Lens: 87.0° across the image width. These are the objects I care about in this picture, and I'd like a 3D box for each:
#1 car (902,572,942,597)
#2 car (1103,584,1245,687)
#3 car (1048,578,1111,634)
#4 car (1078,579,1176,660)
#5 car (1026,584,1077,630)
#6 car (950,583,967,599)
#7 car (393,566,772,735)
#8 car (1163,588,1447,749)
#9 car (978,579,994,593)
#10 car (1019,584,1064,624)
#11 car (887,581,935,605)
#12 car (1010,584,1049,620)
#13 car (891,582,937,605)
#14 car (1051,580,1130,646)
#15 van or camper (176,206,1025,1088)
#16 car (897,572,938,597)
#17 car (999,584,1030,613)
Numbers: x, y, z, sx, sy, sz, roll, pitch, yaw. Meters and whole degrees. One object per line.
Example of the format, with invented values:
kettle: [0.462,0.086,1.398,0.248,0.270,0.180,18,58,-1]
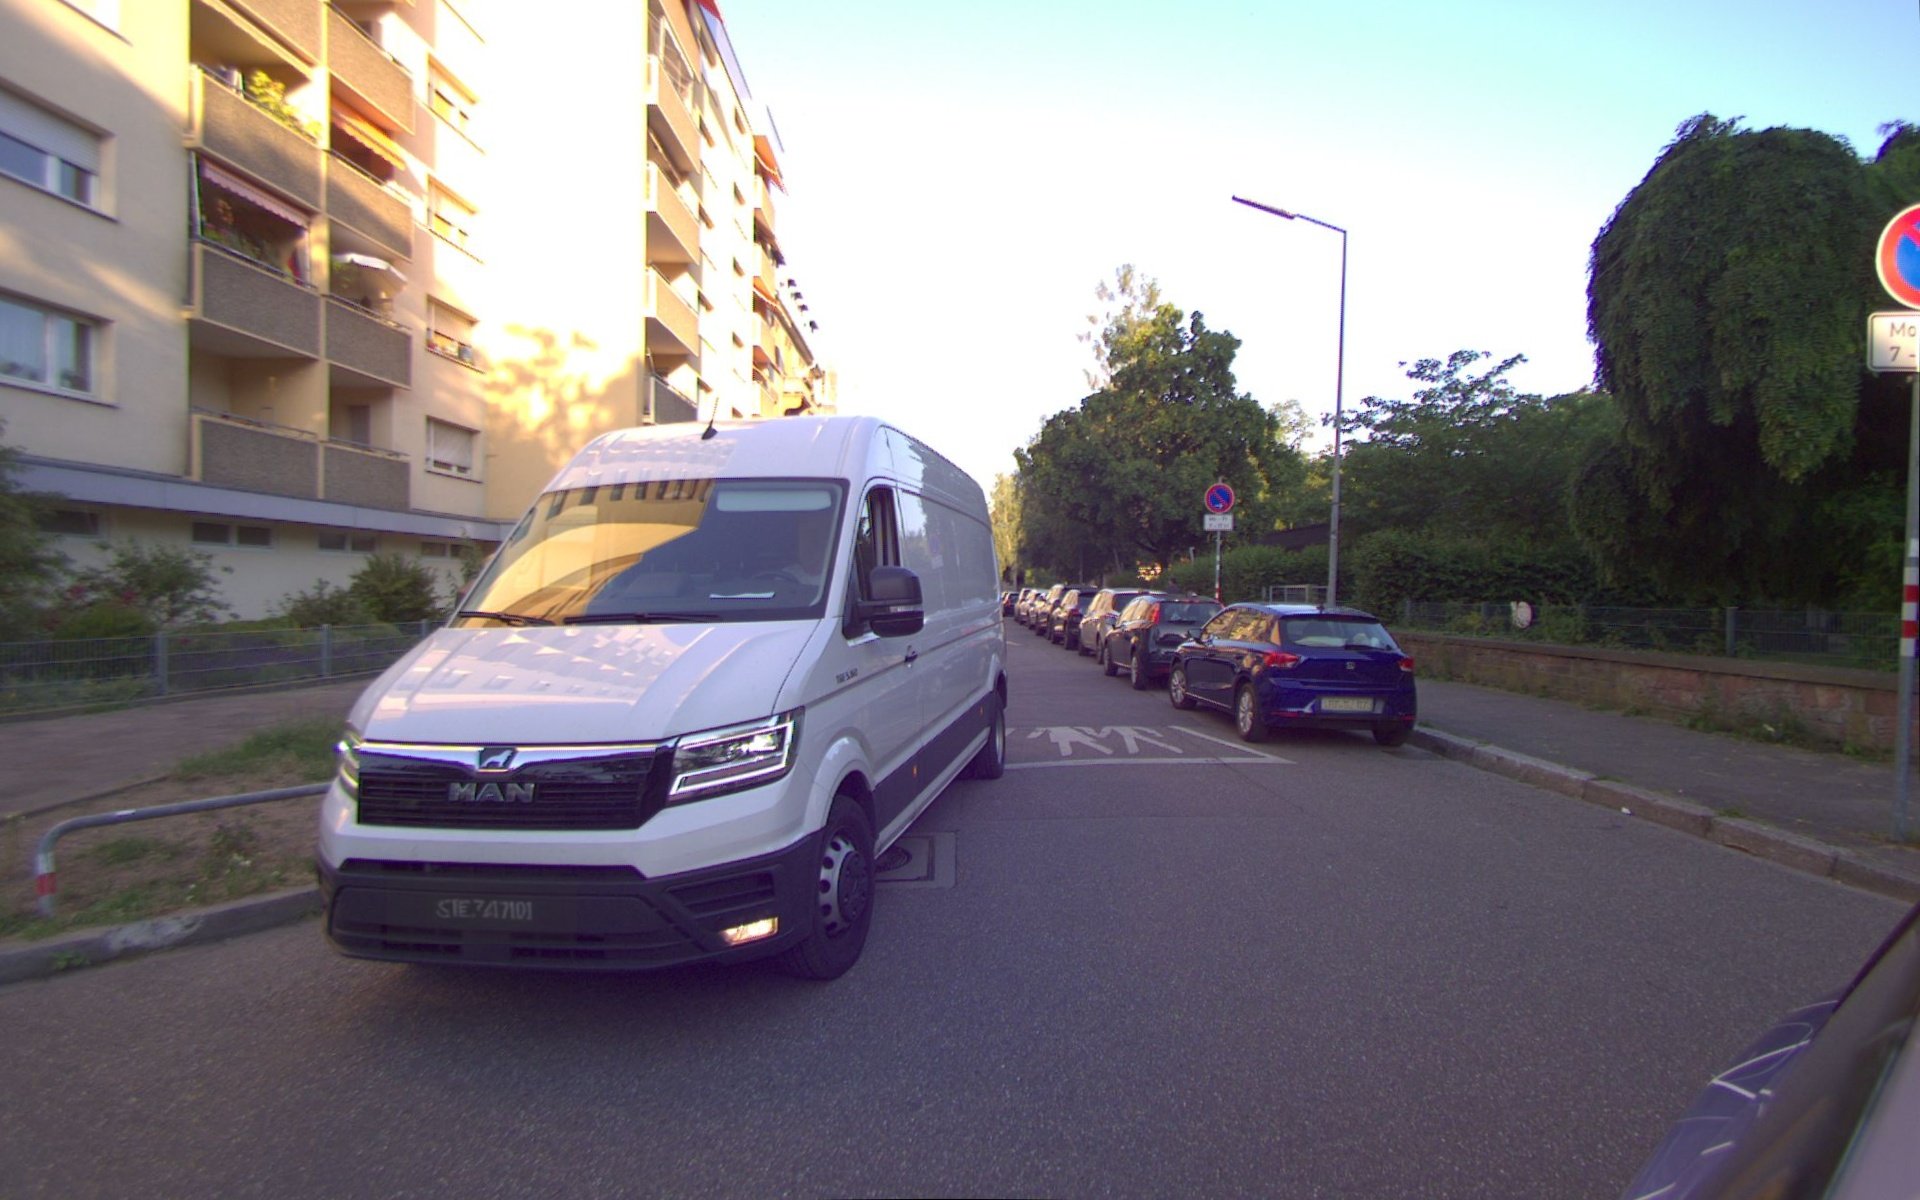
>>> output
car: [-3.959,-1.617,106.806,4.111,2.507,1.839,1,0,1]
car: [3.435,0.499,16.824,1.504,1.503,3.512,1,1,-2]
car: [3.657,0.154,31.375,1.504,1.605,2.955,1,1,-2]
car: [3.569,0.368,22.045,1.504,1.605,3.131,1,1,-2]
car: [3.319,0.215,37.059,1.504,1.605,2.955,1,1,-2]
car: [-0.106,-0.951,109.810,1.711,1.680,4.362,1,1,1]
car: [-3.990,0.507,11.103,3.503,1.531,1.627,3,0,0]
car: [3.702,0.639,11.616,1.689,1.503,3.794,1,1,-5]
car: [3.039,-1.599,119.039,1.769,1.605,2.955,1,1,-2]
car: [3.355,0.137,41.998,1.504,1.605,2.955,1,1,-2]
car: [-4.332,-0.602,90.153,4.111,2.024,1.839,1,1,1]
car: [3.206,0.051,47.286,1.504,1.605,2.955,1,1,-2]
car: [-4.192,-0.637,92.536,4.111,2.024,1.839,1,1,1]
car: [3.379,0.292,26.665,1.504,1.605,3.404,1,1,-2]
van or camper: [-1.009,0.123,6.580,2.062,2.623,6.851,-1,0,10]
car: [-4.325,-1.566,103.165,4.111,2.507,1.839,1,0,1]
car: [3.064,-0.113,57.514,1.504,1.605,2.955,1,1,-2]
